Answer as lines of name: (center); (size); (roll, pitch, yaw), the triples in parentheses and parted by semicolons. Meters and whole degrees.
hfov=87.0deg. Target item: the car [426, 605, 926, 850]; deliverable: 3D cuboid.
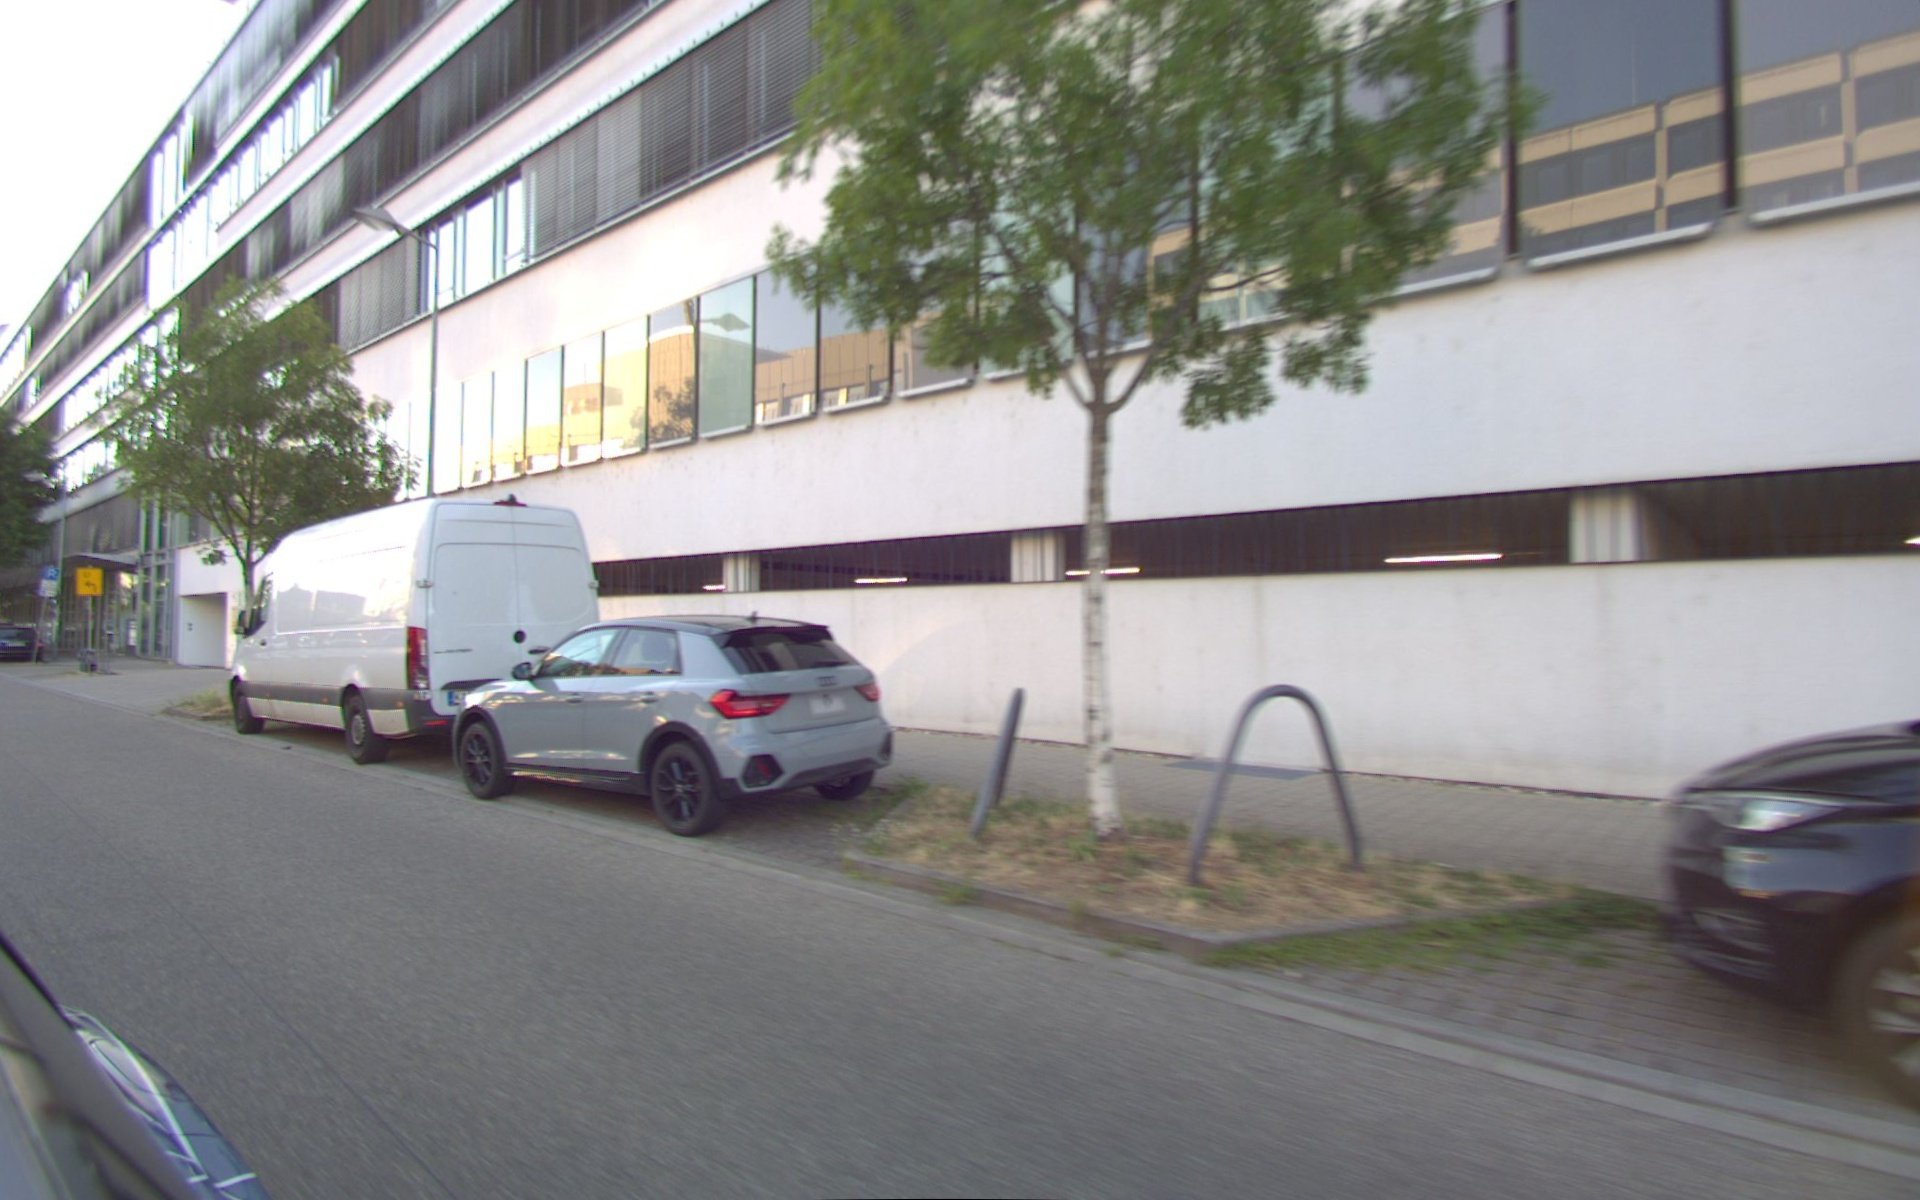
car: (-2.344, 0.830, 7.941); (3.894, 1.450, 1.740); (-2, -1, 36)

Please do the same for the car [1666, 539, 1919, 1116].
car: (4.287, 0.565, 2.442); (4.041, 1.573, 1.737); (-2, -1, 41)

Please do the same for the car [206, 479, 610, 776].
car: (-6.849, 0.342, 11.986); (6.889, 2.637, 1.938); (-2, -1, 41)

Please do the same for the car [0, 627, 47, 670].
car: (-34.164, 1.733, 35.975); (4.391, 1.463, 1.699); (-2, -3, 37)

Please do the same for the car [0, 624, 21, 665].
car: (-38.528, 1.760, 39.835); (4.265, 1.583, 1.825); (-2, -3, 41)
